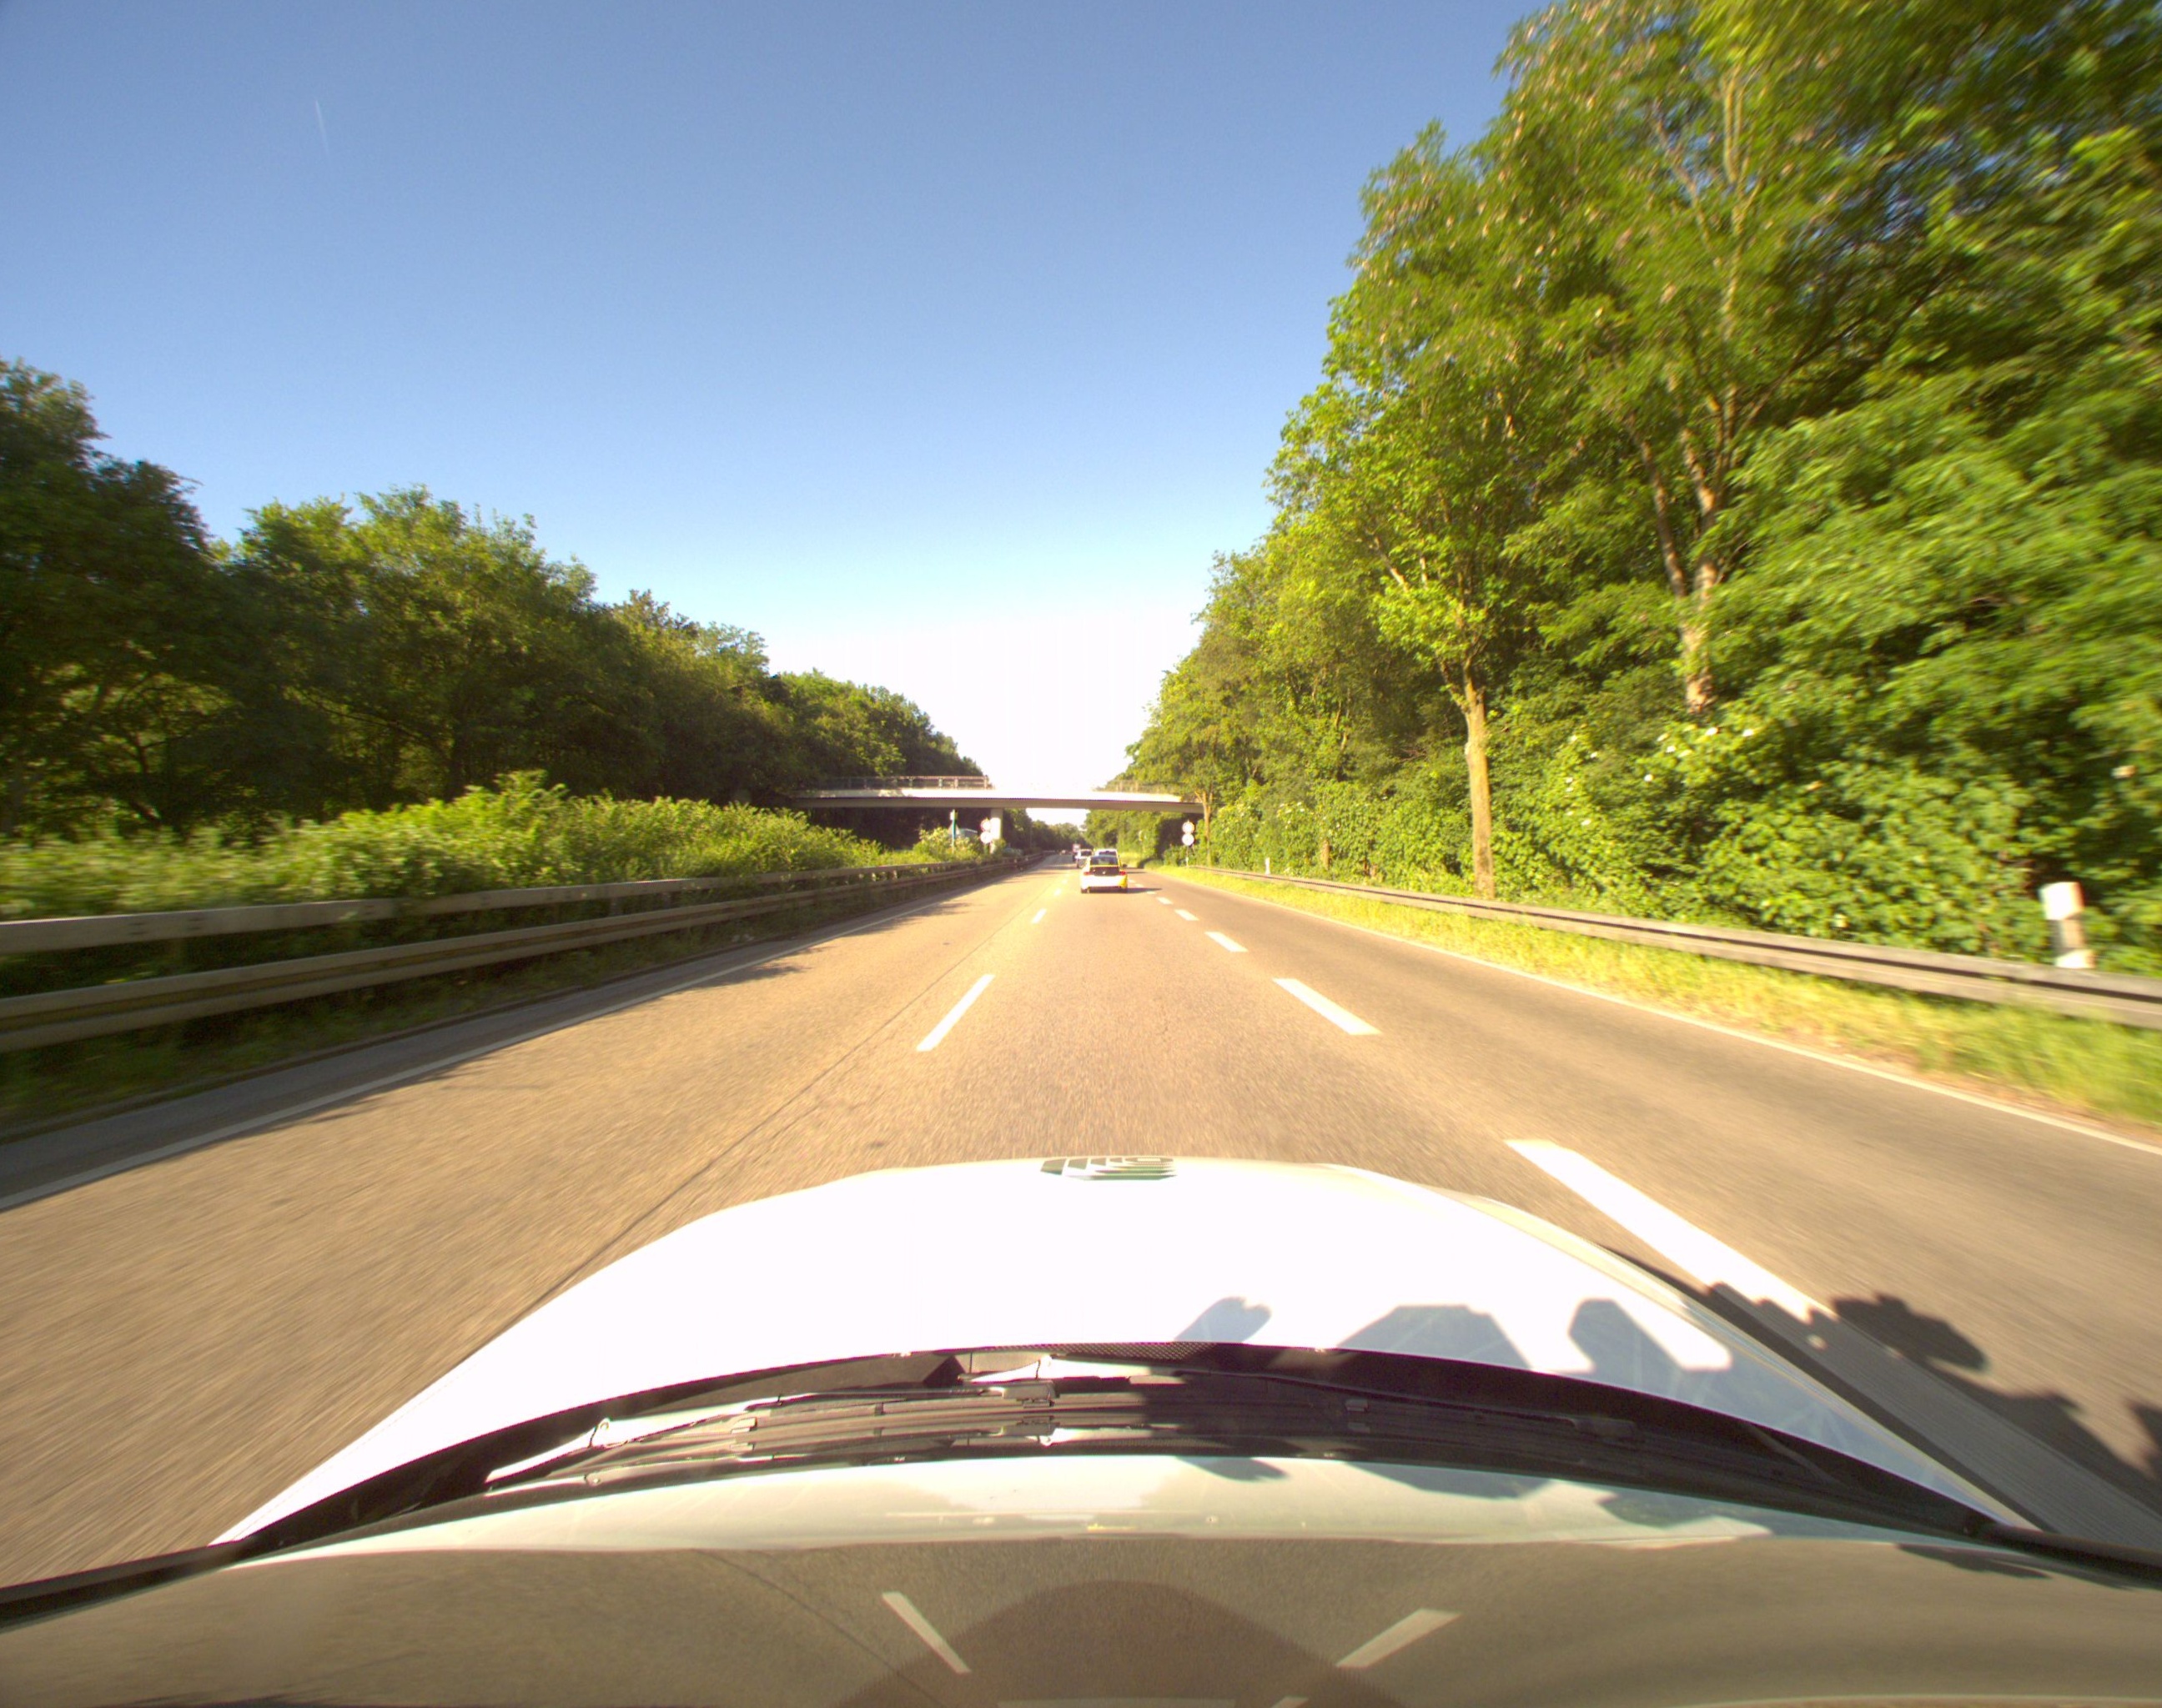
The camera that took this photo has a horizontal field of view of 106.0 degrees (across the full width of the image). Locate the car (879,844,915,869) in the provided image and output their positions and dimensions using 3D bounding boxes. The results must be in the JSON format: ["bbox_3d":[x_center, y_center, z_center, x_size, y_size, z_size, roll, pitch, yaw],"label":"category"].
[{"bbox_3d":[-15.168,0.172,67.319,1.987,2.013,4.000,0,0,0],"label":"car"}]

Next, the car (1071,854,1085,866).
[{"bbox_3d":[-0.475,0.851,123.372,1.988,1.750,4.370,0,0,-1],"label":"car"}]

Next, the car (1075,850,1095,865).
[{"bbox_3d":[0.439,0.350,81.559,1.932,1.545,3.422,0,0,1],"label":"car"}]

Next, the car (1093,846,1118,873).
[{"bbox_3d":[1.822,0.388,59.546,1.734,1.830,3.424,3,0,2],"label":"car"}]

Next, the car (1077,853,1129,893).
[{"bbox_3d":[0.898,0.716,32.103,1.931,1.508,3.424,0,0,2],"label":"car"}]

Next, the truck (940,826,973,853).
[{"bbox_3d":[-15.248,-1.723,100.195,2.920,3.168,7.082,0,0,0],"label":"truck"}]
